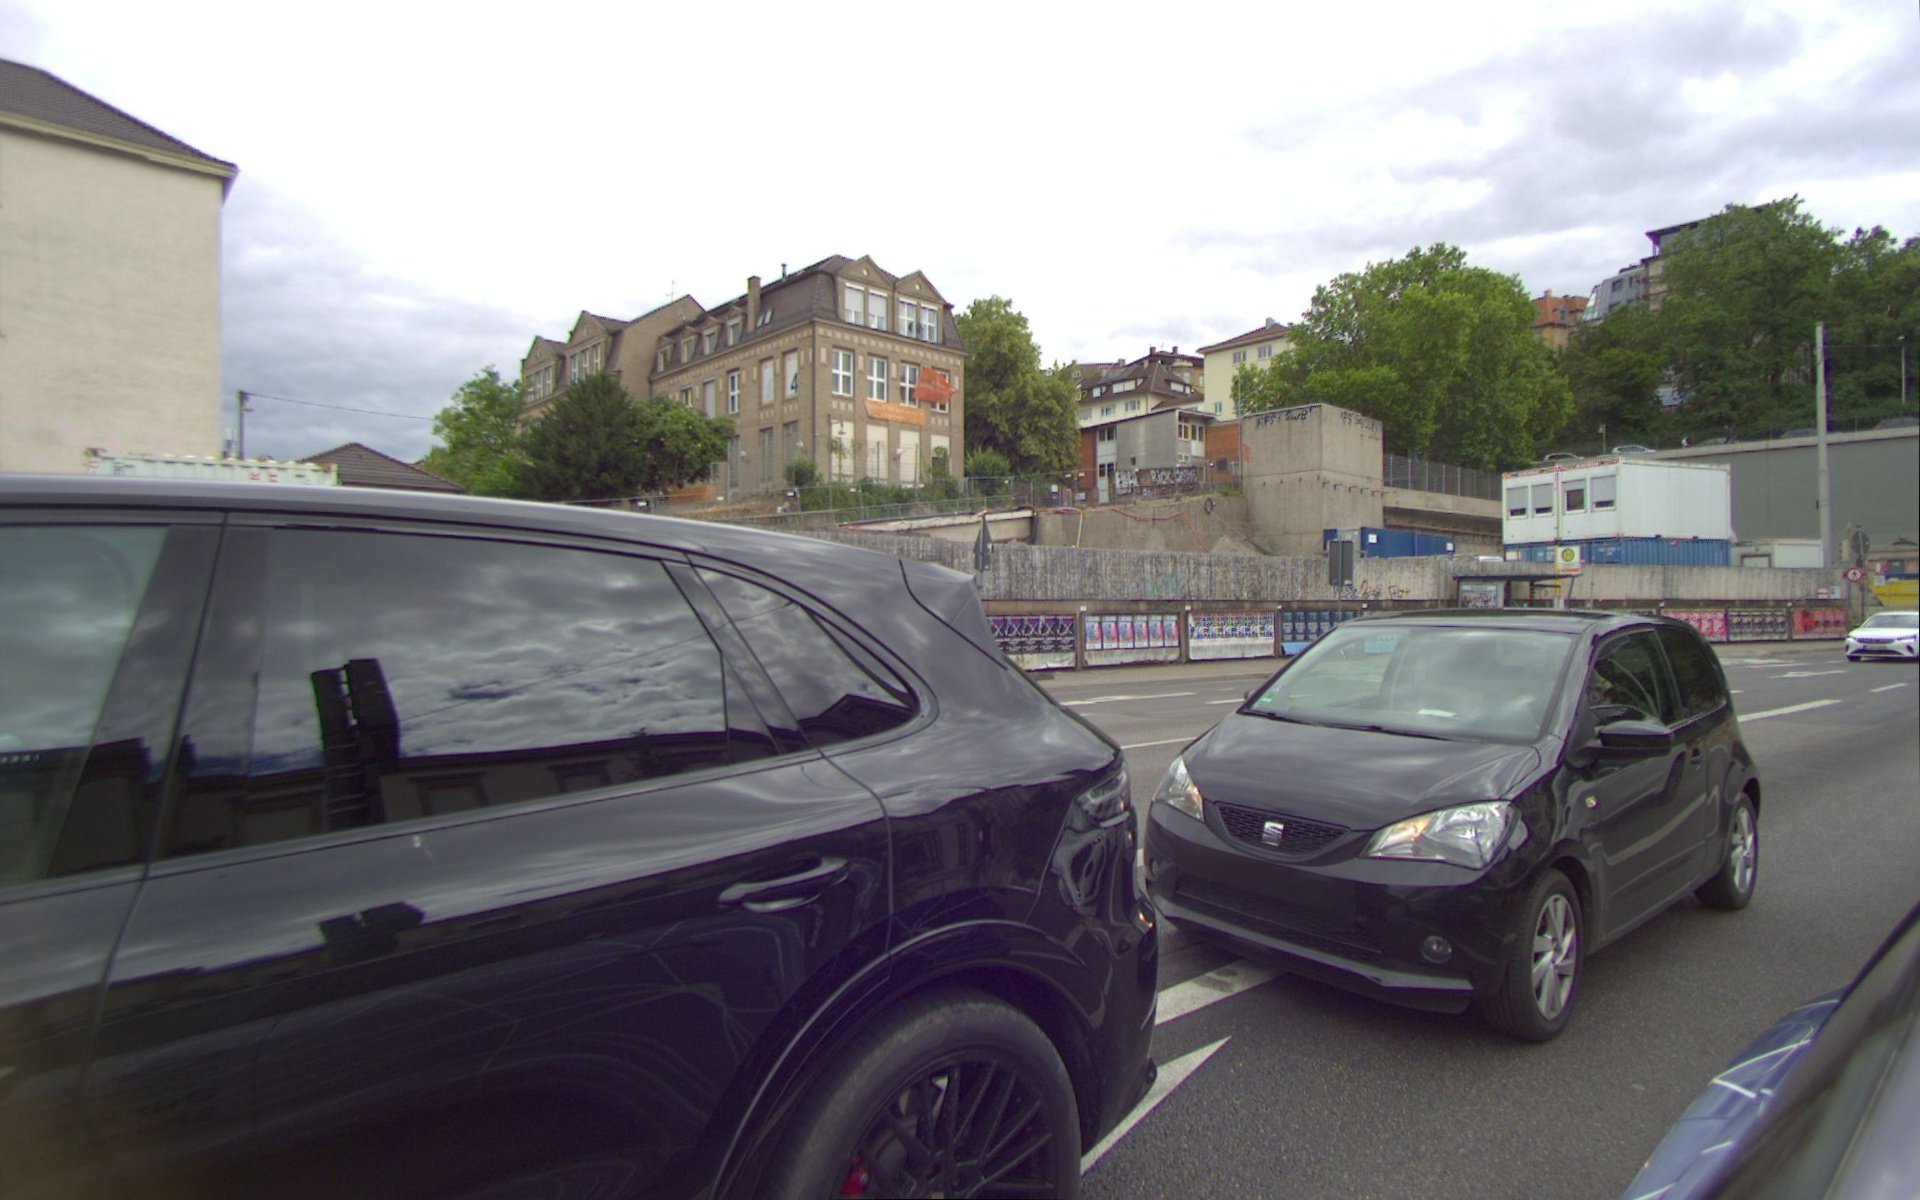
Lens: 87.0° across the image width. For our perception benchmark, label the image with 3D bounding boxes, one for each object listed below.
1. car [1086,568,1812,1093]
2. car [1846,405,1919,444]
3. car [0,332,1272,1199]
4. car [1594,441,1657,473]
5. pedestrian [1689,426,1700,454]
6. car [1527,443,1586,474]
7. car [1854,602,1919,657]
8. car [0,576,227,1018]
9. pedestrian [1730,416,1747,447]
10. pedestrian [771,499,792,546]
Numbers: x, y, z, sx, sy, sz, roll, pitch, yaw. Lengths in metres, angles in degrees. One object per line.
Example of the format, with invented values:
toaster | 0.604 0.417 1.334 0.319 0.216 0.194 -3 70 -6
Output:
car | 2.519 0.671 4.798 3.812 1.515 1.667 0 -1 -40
car | 64.138 -12.157 70.073 1.966 2.039 3.991 0 1 -43
car | -1.629 0.594 1.712 4.552 1.707 1.959 0 -1 -40
car | 53.547 -11.473 81.462 3.988 2.039 1.968 0 1 45
pedestrian | 56.873 -12.356 78.358 0.568 2.039 0.580 0 0 -44
car | 50.230 -11.880 85.250 3.988 2.039 1.968 0 1 45
car | 28.021 0.817 29.538 3.919 1.498 1.667 0 0 -29
car | -4.891 0.703 3.430 3.812 1.563 1.667 0 -1 -40
pedestrian | 56.763 -12.293 73.826 0.891 2.039 0.849 0 -1 -45
pedestrian | -7.850 -3.401 44.576 0.656 2.039 0.644 0 0 -45
